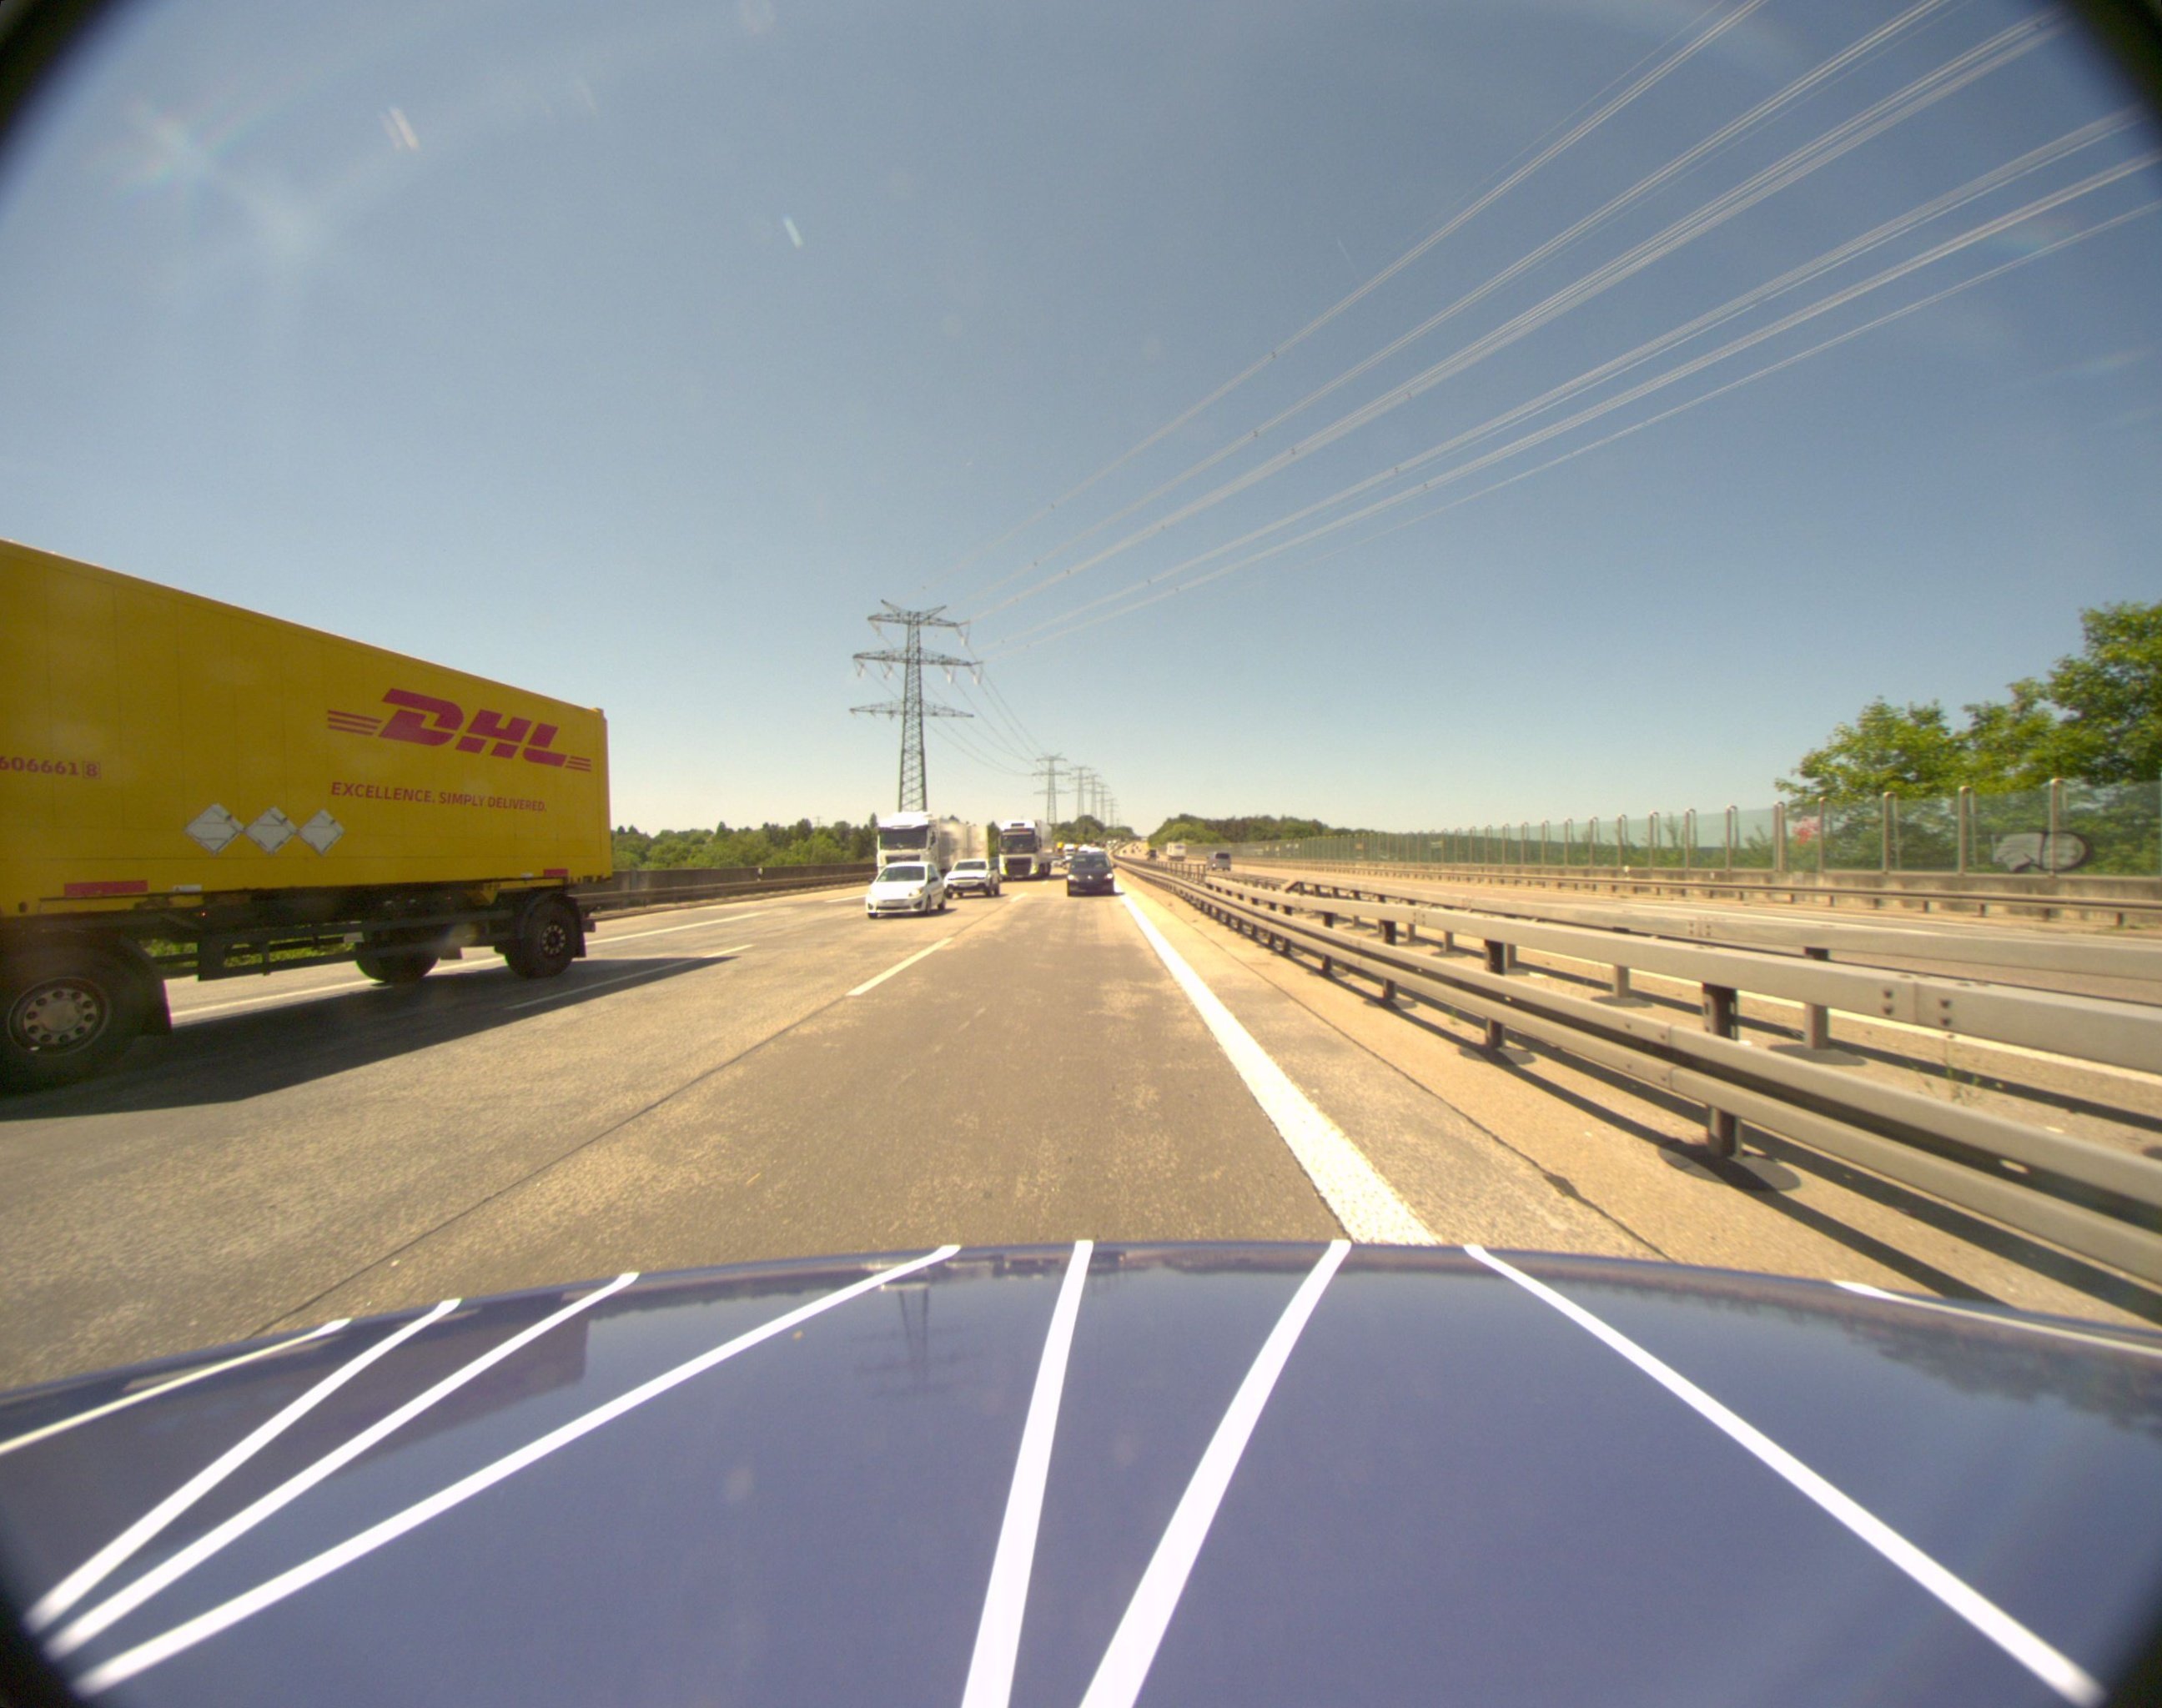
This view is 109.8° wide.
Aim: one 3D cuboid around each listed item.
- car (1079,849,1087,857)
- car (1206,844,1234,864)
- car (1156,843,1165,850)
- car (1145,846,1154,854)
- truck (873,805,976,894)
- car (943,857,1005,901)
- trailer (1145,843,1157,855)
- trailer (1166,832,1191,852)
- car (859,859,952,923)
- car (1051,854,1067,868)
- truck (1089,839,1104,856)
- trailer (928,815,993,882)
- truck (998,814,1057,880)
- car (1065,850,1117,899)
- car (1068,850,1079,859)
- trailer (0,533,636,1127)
[{"bbox_3d":[0.409,-0.237,179.754,1.821,1.569,3.999,-2,1,1],"label":"car"},{"bbox_3d":[14.139,-0.039,77.381,1.998,1.930,4.896,-2,1,1],"label":"car"},{"bbox_3d":[23.588,-2.357,225.044,1.998,1.930,5.274,-2,1,1],"label":"car"},{"bbox_3d":[16.605,-0.977,184.194,1.875,1.616,4.628,-2,1,1],"label":"car"},{"bbox_3d":[-7.832,-0.262,39.886,2.695,3.908,11.296,-2,1,1],"label":"truck"},{"bbox_3d":[-4.214,0.942,30.562,1.776,1.521,3.851,-2,1,2],"label":"car"},{"bbox_3d":[16.506,-1.167,179.313,2.171,2.761,5.375,2,1,1],"label":"trailer"},{"bbox_3d":[21.193,-2.575,165.750,3.999,4.211,14.039,0,0,1],"label":"trailer"},{"bbox_3d":[-4.829,0.966,21.460,1.659,1.502,3.825,-2,1,0],"label":"car"},{"bbox_3d":[-2.856,0.907,98.373,1.821,1.569,3.999,-2,1,1],"label":"car"},{"bbox_3d":[2.660,-1.070,130.472,2.309,2.789,5.109,-2,1,2],"label":"truck"},{"bbox_3d":[-7.669,-0.354,49.417,2.752,3.918,7.773,-2,1,1],"label":"trailer"},{"bbox_3d":[-3.581,-0.481,54.831,2.717,4.015,14.256,-2,0,2],"label":"truck"},{"bbox_3d":[0.423,0.717,28.360,1.748,1.569,3.999,-2,1,2],"label":"car"},{"bbox_3d":[-1.334,0.115,136.546,1.821,1.569,3.999,-2,1,1],"label":"car"},{"bbox_3d":[-8.791,-0.135,7.707,2.772,4.093,9.377,-2,0,1],"label":"trailer"}]
